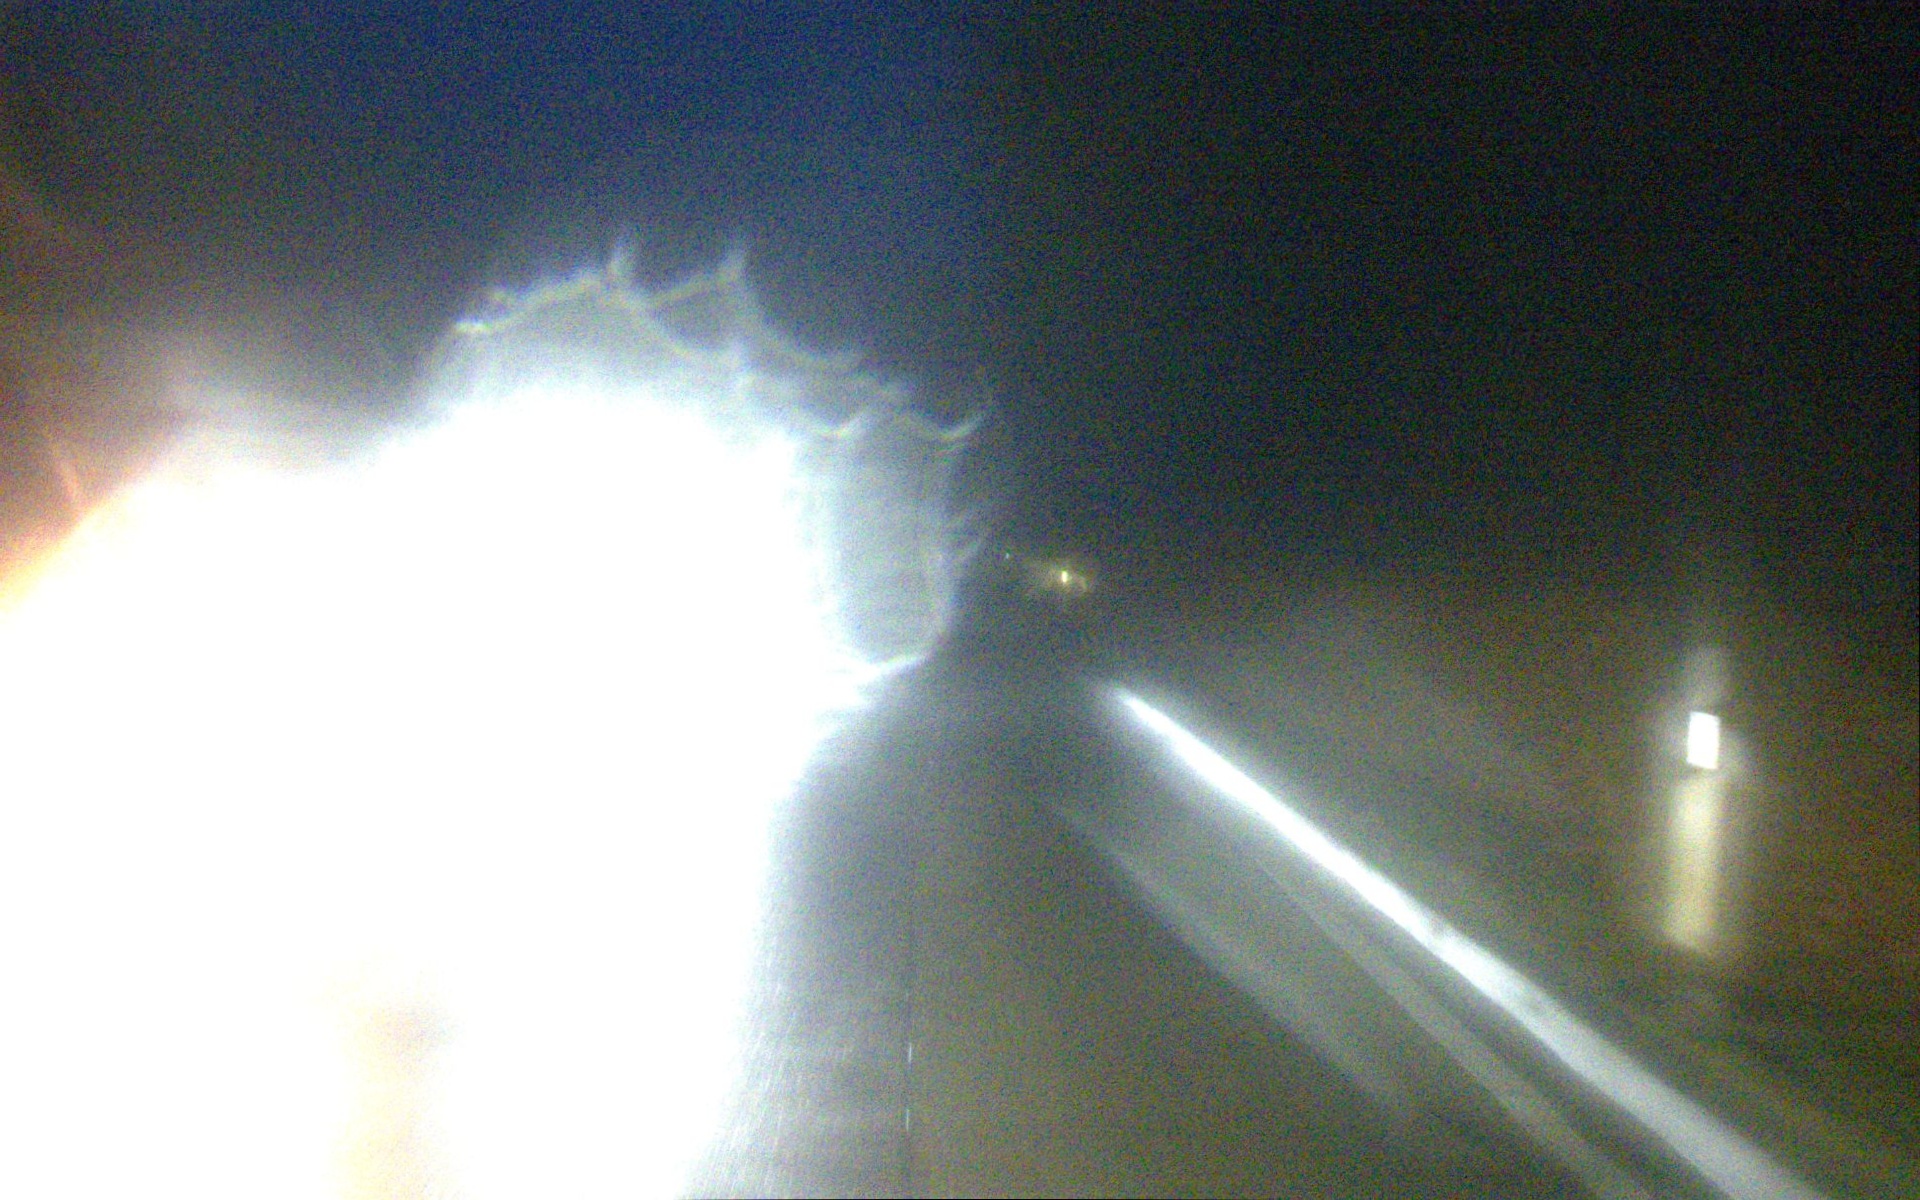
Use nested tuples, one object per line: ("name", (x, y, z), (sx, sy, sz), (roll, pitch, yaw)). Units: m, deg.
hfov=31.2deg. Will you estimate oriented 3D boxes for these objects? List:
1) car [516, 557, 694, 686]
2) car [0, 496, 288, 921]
("car", (-4.229, 0.222, 41.512), (1.836, 1.466, 4.392), (0, 1, -2))
("car", (-4.233, 0.381, 15.339), (1.931, 1.581, 4.001), (-2, 3, -4))
